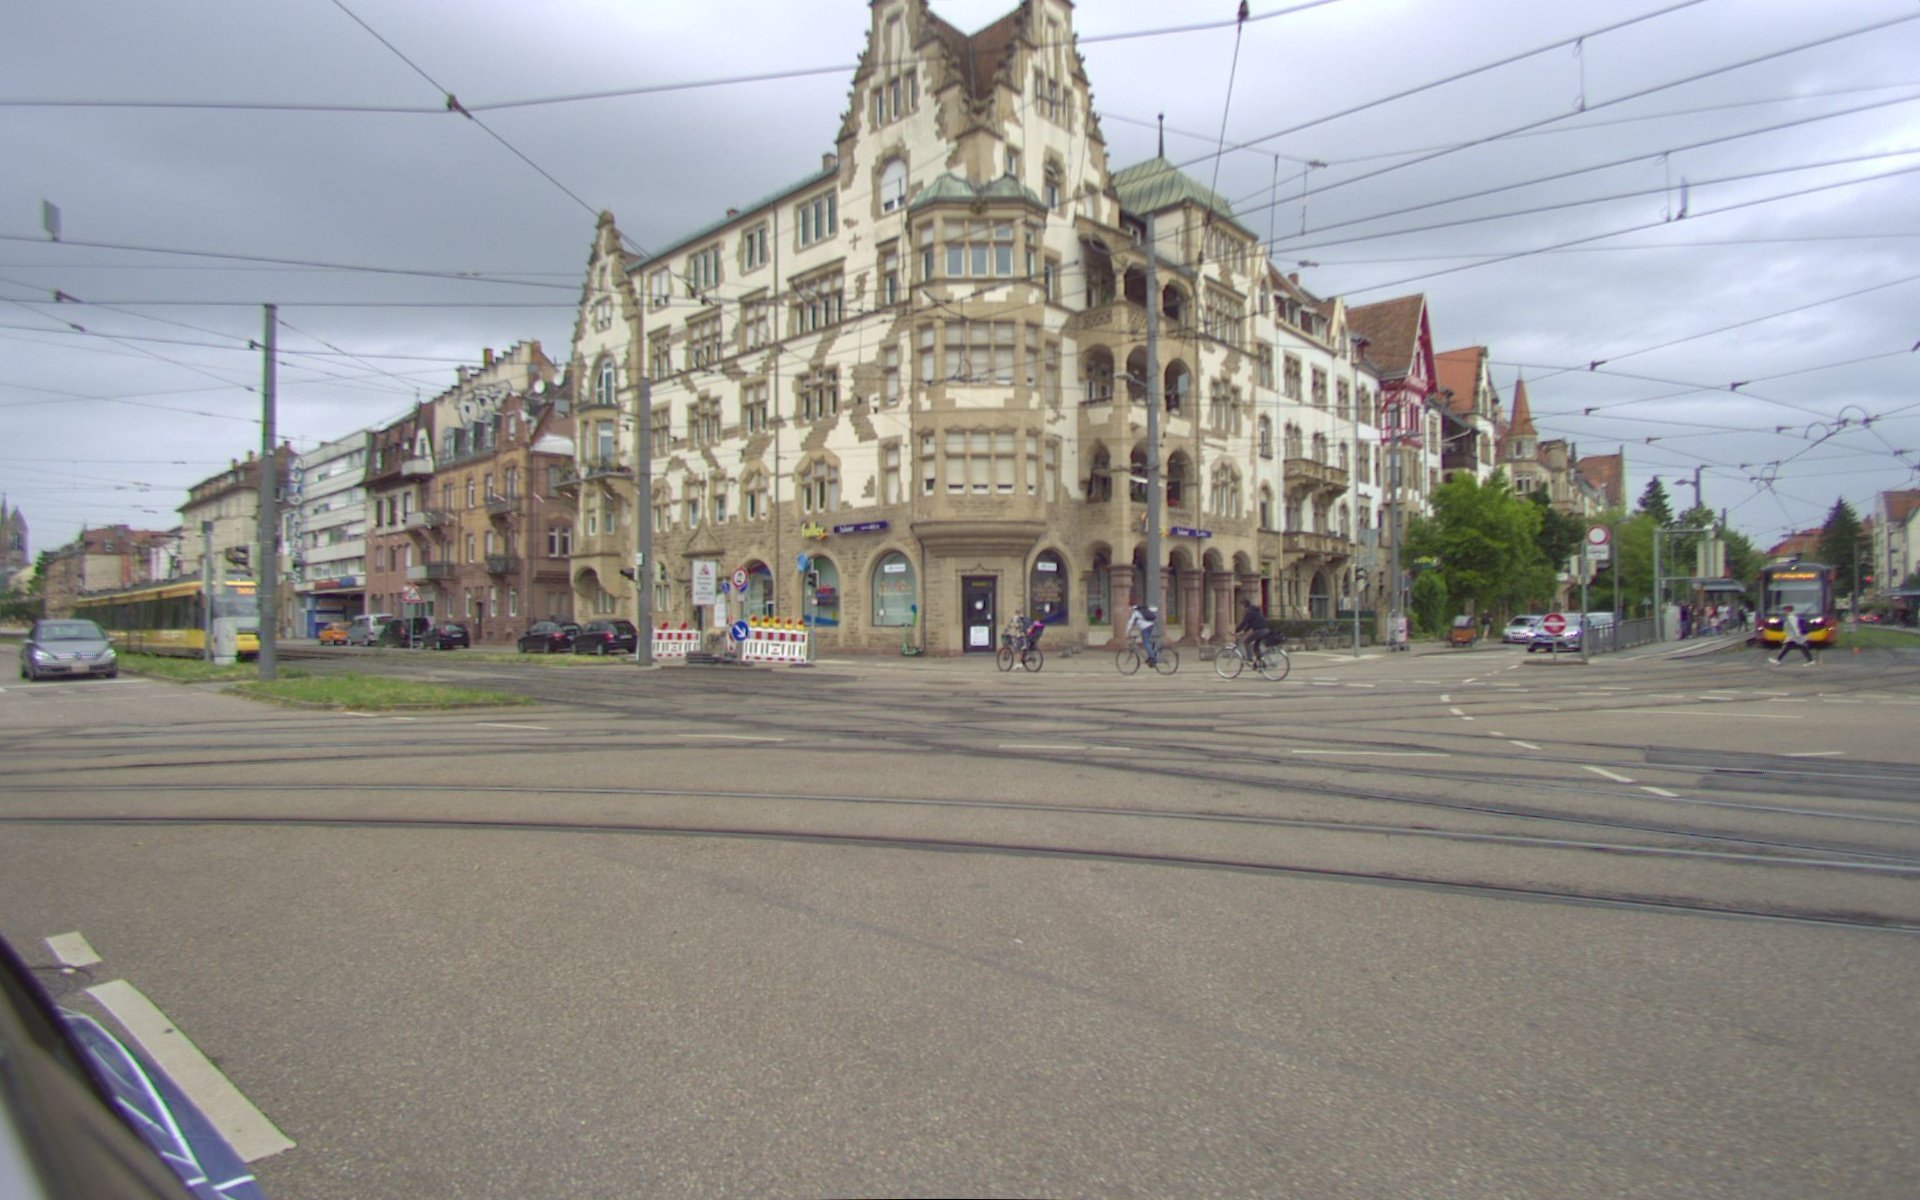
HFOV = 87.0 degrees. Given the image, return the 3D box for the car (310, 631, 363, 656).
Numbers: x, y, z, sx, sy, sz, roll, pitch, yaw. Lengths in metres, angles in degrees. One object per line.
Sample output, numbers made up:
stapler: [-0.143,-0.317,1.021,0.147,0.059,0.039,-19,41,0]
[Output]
car: [-42.941,2.972,69.652,3.997,1.608,1.973,-1,-2,40]

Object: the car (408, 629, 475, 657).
car: [-28.947,2.375,56.477,3.997,1.453,1.973,-1,-2,40]

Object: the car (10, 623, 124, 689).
car: [-24.166,1.456,27.358,3.774,1.652,1.844,-1,-2,42]

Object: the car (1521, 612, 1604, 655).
car: [22.730,1.248,38.151,1.801,1.522,3.941,-1,-2,44]

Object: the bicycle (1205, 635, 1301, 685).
bicycle: [6.488,1.305,22.448,1.913,1.045,0.741,-1,-2,39]

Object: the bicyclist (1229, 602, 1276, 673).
bicyclist: [6.491,0.815,22.451,0.764,1.532,0.741,-1,-2,39]

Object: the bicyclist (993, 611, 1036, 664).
bicyclist: [1.513,1.045,28.068,0.971,1.455,0.699,-2,-3,39]

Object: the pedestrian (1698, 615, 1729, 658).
pedestrian: [36.122,1.714,48.521,1.122,2.029,1.056,-1,-2,39]

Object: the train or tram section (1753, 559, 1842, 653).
train or tram section: [36.808,0.350,44.412,2.602,3.540,13.926,-1,-2,40]

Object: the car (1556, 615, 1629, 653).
car: [26.462,1.399,42.290,1.801,1.522,3.941,-1,-2,44]

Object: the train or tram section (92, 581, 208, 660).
train or tram section: [-40.407,1.002,50.240,13.620,3.463,2.615,-1,-2,43]

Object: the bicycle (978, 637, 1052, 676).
bicycle: [1.517,1.565,28.054,2.020,1.045,0.699,-2,-3,39]

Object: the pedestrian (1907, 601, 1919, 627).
pedestrian: [63.508,0.924,67.355,0.638,1.694,0.642,-1,-2,41]

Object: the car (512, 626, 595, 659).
car: [-19.116,1.963,47.511,3.997,1.453,1.973,-1,-2,40]

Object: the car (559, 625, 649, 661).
car: [-15.561,1.838,44.158,3.997,1.453,1.973,-1,-2,40]

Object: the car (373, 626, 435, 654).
car: [-33.266,2.369,60.554,3.997,1.608,1.973,-1,-2,40]

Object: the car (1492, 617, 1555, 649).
car: [28.365,1.632,50.911,1.801,1.522,3.941,-1,-2,44]

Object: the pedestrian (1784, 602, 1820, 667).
pedestrian: [22.538,0.911,27.097,0.704,1.699,0.600,-1,-2,41]

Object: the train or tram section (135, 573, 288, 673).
train or tram section: [-30.528,0.899,40.906,13.620,3.463,2.615,-1,-2,43]

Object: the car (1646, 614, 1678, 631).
car: [65.506,2.092,94.440,1.801,1.522,3.941,-1,-2,44]

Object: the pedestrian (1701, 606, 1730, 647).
pedestrian: [37.966,1.350,50.838,1.122,2.029,1.056,-1,-2,39]

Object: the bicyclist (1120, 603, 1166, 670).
bicyclist: [4.560,0.915,25.185,0.858,1.618,0.715,-3,-3,39]

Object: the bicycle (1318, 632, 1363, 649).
bicycle: [16.719,1.774,44.519,1.804,0.744,0.554,-1,-2,43]

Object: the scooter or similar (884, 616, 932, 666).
scooter or similar: [-1.829,1.418,35.637,1.829,1.728,0.558,-1,-2,41]

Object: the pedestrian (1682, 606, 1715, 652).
pedestrian: [33.314,1.288,45.644,1.122,2.029,1.056,-1,-2,39]

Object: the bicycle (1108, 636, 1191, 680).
bicycle: [4.685,1.427,25.071,1.907,1.045,0.715,-3,-3,39]

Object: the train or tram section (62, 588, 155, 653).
train or tram section: [-50.317,1.176,59.598,13.620,3.463,2.615,-1,-2,43]

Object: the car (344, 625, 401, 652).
car: [-37.886,2.452,65.253,3.997,1.608,1.973,-1,-2,40]

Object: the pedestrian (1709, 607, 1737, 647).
pedestrian: [39.831,1.396,52.840,1.122,2.029,1.056,-1,-2,39]

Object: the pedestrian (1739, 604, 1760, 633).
pedestrian: [48.683,1.132,62.432,0.986,1.740,0.920,-1,-2,39]
